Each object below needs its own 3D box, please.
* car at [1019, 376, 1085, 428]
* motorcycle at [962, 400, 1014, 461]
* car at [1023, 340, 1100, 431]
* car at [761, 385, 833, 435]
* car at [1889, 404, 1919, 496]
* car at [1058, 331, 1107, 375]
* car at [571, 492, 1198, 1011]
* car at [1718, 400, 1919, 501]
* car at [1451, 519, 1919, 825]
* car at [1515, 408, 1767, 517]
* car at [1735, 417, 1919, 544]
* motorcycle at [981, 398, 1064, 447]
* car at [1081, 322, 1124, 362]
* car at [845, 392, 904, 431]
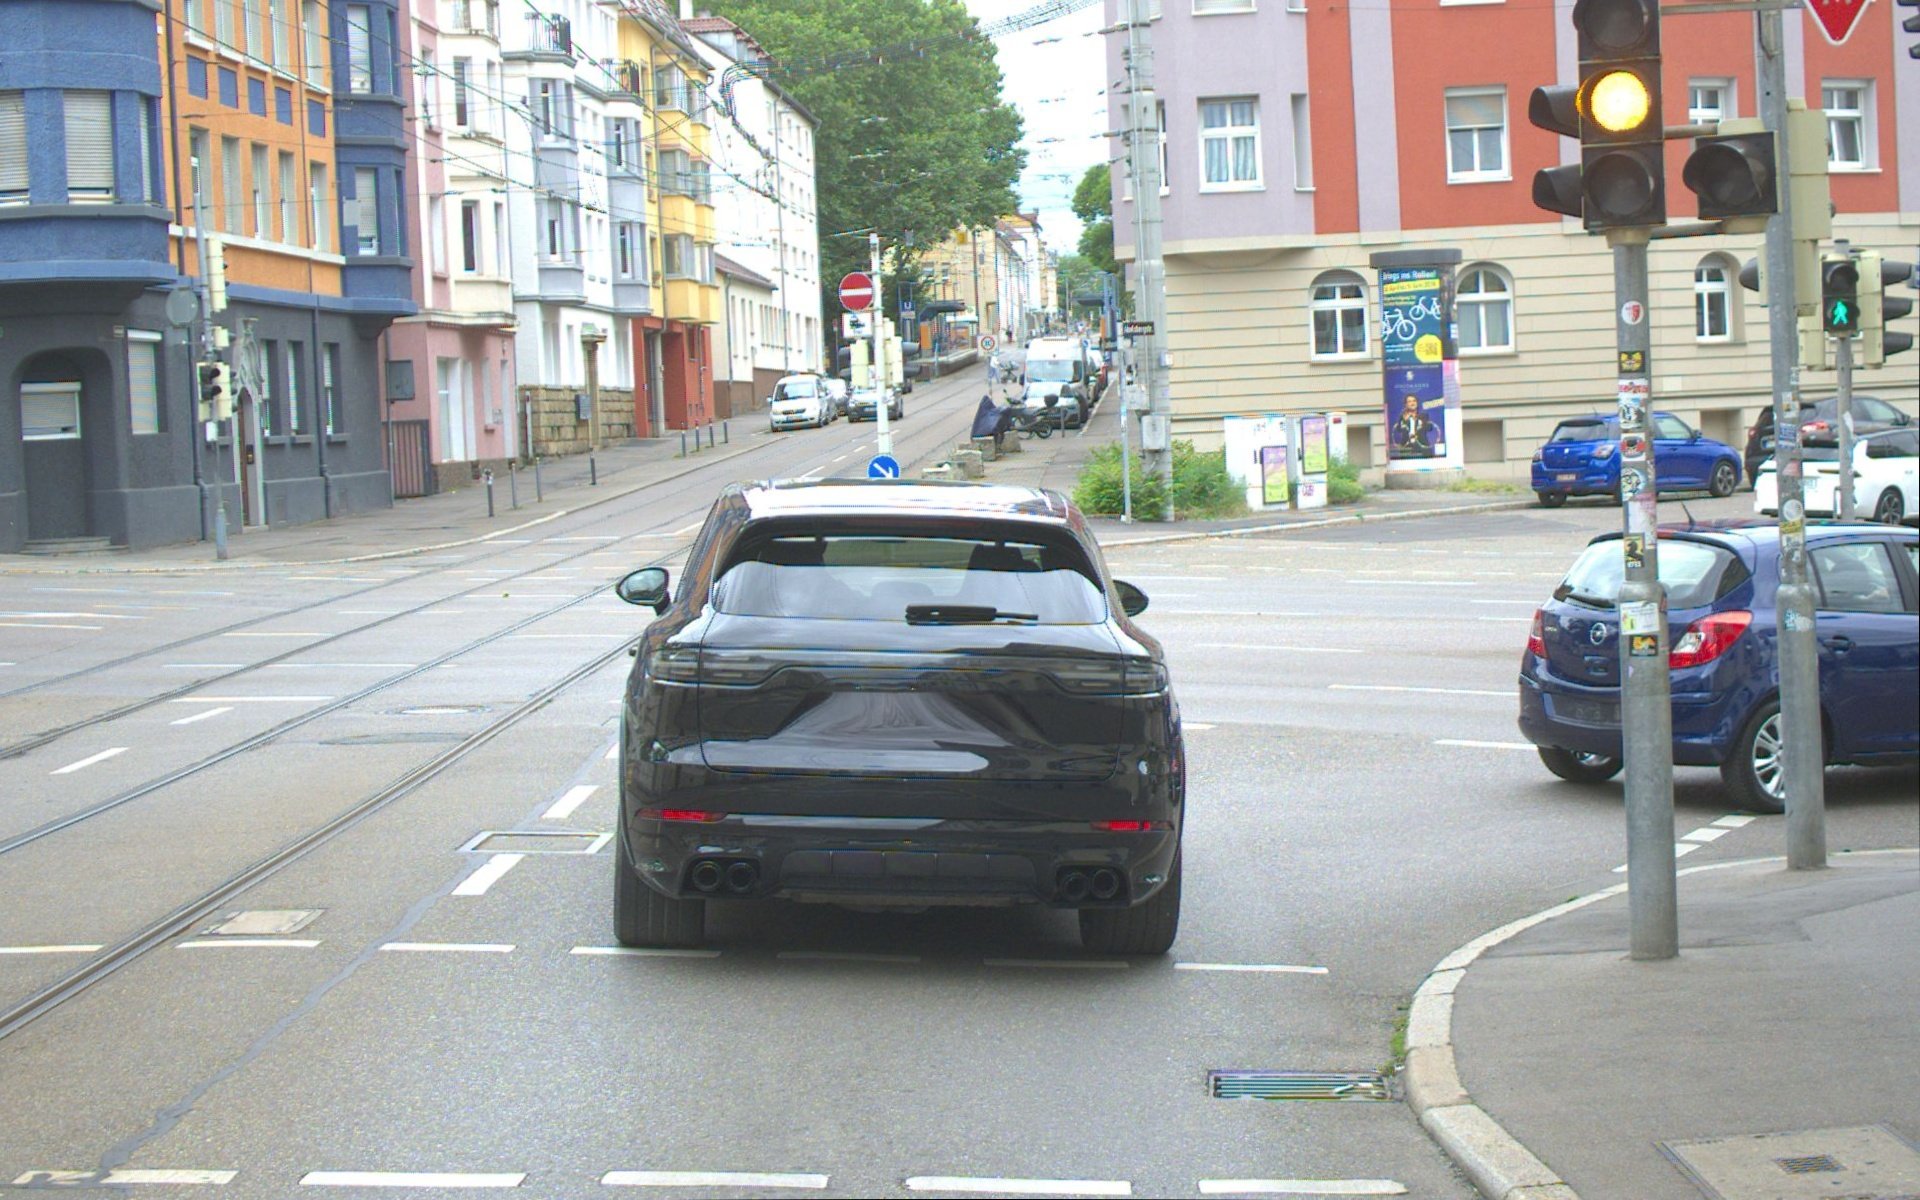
[{"bbox_3d":[2.838,-6.104,105.787,1.840,1.563,3.819,0,4,4],"label":"car"},{"bbox_3d":[0.655,-4.052,82.083,0.859,1.321,2.185,-7,4,-5],"label":"motorcycle"},{"bbox_3d":[3.327,-6.975,111.731,2.267,2.880,4.769,0,4,4],"label":"car"},{"bbox_3d":[-5.549,-6.524,117.704,1.994,1.686,4.000,0,4,4],"label":"car"},{"bbox_3d":[19.240,-2.813,63.023,4.128,1.627,1.919,-4,6,-31],"label":"car"},{"bbox_3d":[6.170,-12.372,172.344,2.267,2.176,4.769,0,4,4],"label":"car"},{"bbox_3d":[-0.342,0.429,13.341,2.024,1.636,4.357,0,2,-3],"label":"car"},{"bbox_3d":[15.273,-2.635,59.961,4.130,1.529,1.918,-6,7,-40],"label":"car"},{"bbox_3d":[4.732,0.349,18.669,3.739,1.442,1.761,0,3,-29],"label":"car"},{"bbox_3d":[11.122,-2.268,56.018,4.130,1.529,1.918,-6,7,-41],"label":"car"},{"bbox_3d":[12.884,-1.721,48.395,4.131,1.529,1.917,-6,7,-44],"label":"car"},{"bbox_3d":[1.682,-4.786,92.590,2.176,1.322,0.700,-1,3,-6],"label":"motorcycle"},{"bbox_3d":[7.987,-14.447,192.529,2.267,2.176,4.769,0,4,4],"label":"car"},{"bbox_3d":[-2.946,-6.556,119.485,1.686,1.322,3.662,0,4,4],"label":"car"}]
